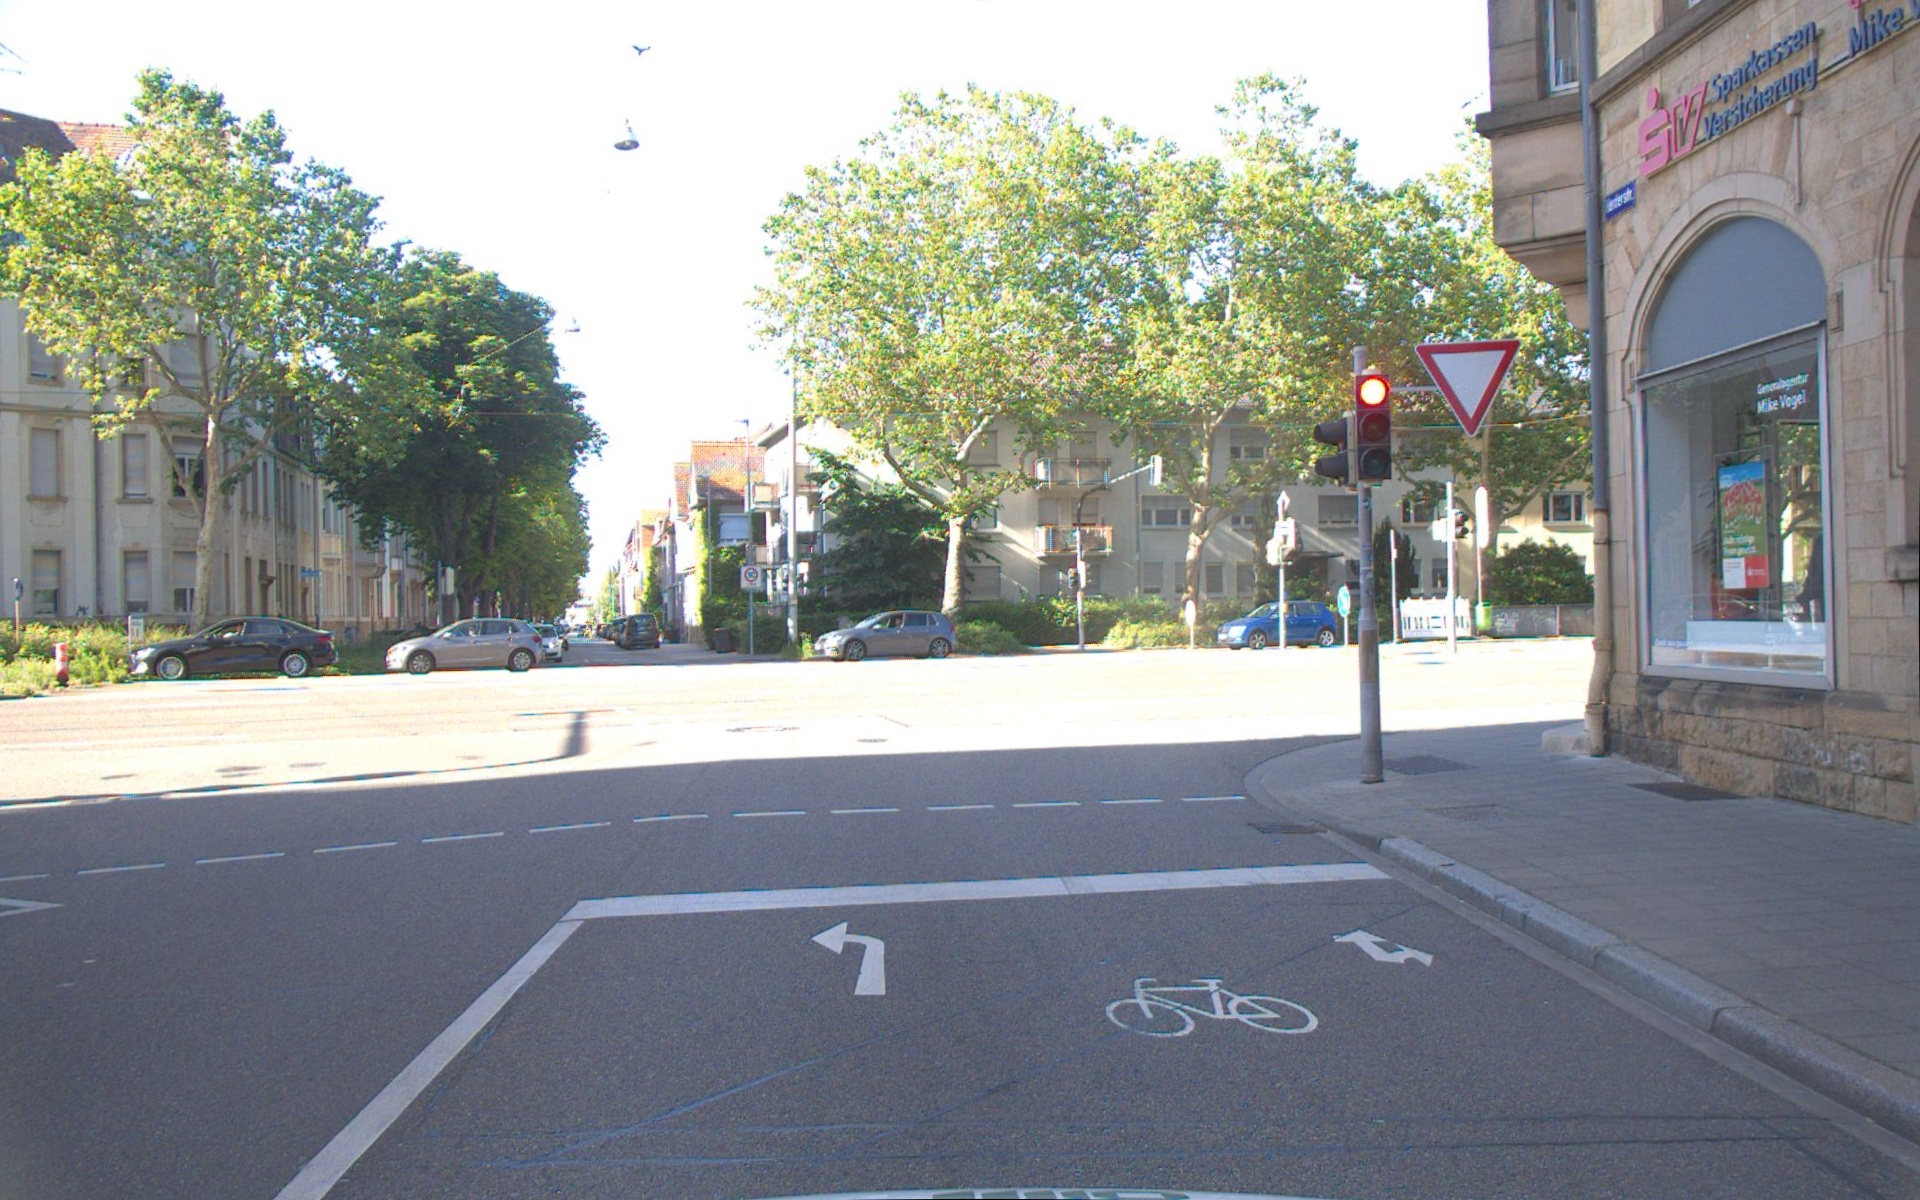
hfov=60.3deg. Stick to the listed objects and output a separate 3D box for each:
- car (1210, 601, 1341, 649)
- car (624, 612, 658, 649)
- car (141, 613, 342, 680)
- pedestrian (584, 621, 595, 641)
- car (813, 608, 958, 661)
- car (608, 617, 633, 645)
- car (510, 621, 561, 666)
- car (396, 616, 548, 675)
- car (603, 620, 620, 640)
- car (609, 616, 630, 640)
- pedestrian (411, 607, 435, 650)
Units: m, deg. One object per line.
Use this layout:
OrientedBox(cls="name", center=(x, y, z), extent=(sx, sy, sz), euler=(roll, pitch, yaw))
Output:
OrientedBox(cls="car", center=(9.957, 0.773, 52.259), extent=(3.719, 1.425, 1.639), euler=(-1, 0, -16))
OrientedBox(cls="car", center=(-18.178, 1.718, 94.163), extent=(1.742, 1.952, 3.523), euler=(-3, 0, -12))
OrientedBox(cls="car", center=(-16.723, 1.058, 38.681), extent=(4.207, 1.425, 1.635), euler=(-1, 0, -22))
OrientedBox(cls="pedestrian", center=(-31.357, 2.645, 139.929), extent=(0.759, 1.698, 0.632), euler=(1, -1, -5))
OrientedBox(cls="car", center=(-2.157, 0.974, 47.840), extent=(3.884, 1.425, 1.635), euler=(-1, 0, -22))
OrientedBox(cls="car", center=(-26.235, 2.373, 127.706), extent=(1.742, 1.952, 3.523), euler=(-3, 0, -12))
OrientedBox(cls="car", center=(-16.163, 1.630, 63.046), extent=(1.669, 1.509, 3.523), euler=(-3, 1, -12))
OrientedBox(cls="car", center=(-12.872, 1.166, 43.632), extent=(3.728, 1.425, 1.635), euler=(-1, 0, -22))
OrientedBox(cls="car", center=(-37.938, 3.241, 180.181), extent=(1.742, 1.952, 3.523), euler=(-3, 0, -12))
OrientedBox(cls="car", center=(-30.047, 2.439, 145.932), extent=(1.742, 1.952, 3.523), euler=(-3, 0, -12))
OrientedBox(cls="pedestrian", center=(-18.423, 0.987, 56.745), extent=(0.694, 1.467, 0.486), euler=(1, -1, -27))
